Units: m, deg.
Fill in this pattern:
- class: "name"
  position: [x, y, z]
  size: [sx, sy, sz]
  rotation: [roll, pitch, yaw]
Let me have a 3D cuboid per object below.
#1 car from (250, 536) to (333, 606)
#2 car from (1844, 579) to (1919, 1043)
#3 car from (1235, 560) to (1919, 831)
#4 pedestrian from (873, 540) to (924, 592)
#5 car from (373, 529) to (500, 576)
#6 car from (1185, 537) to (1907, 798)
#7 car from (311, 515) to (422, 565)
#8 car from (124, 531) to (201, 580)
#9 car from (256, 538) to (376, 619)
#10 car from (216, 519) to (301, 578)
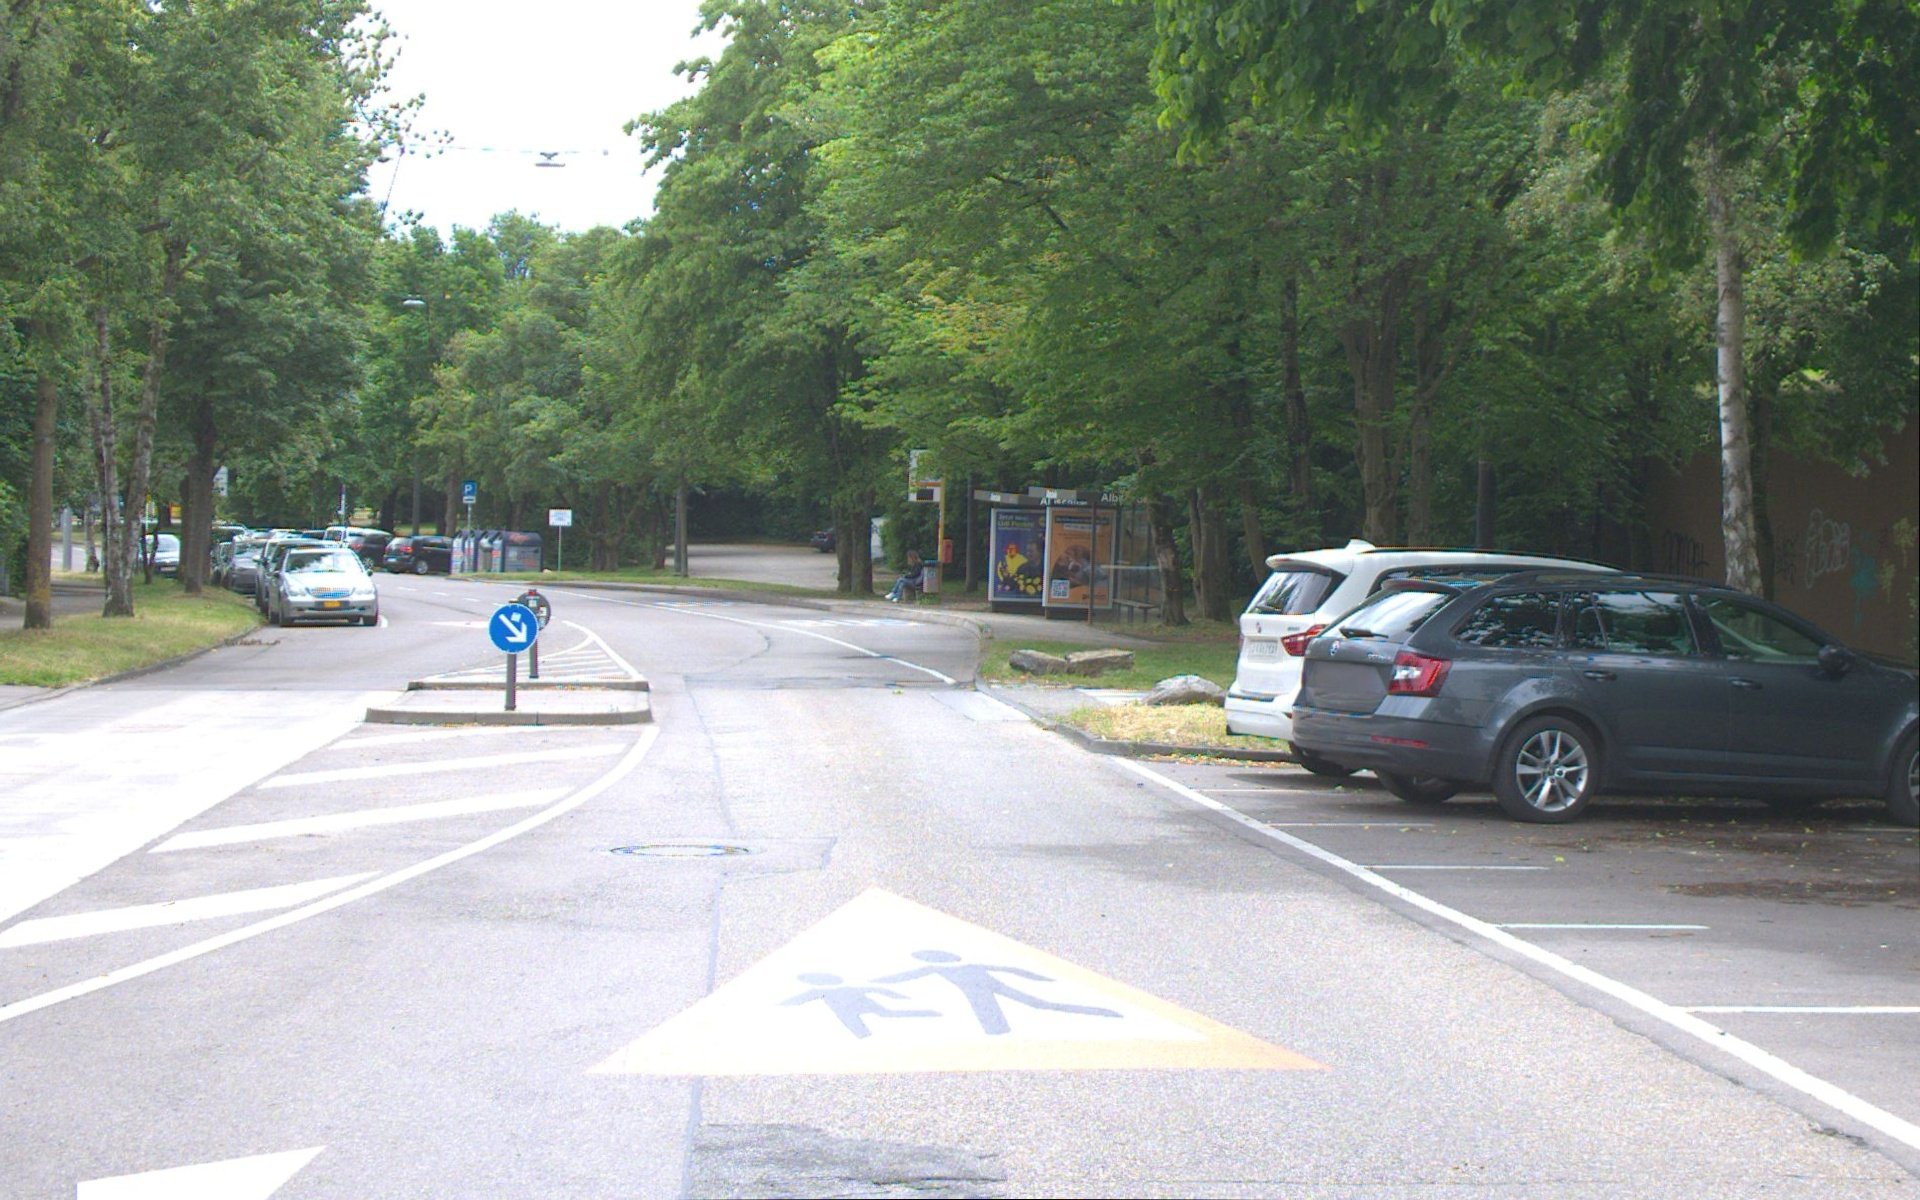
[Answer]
- class: "car"
  position: [-15.711, -0.708, 80.690]
  size: [1.735, 1.573, 4.143]
  rotation: [-1, 1, -13]
- class: "car"
  position: [5.107, 0.755, 10.997]
  size: [3.985, 1.459, 1.867]
  rotation: [2, 0, -19]
- class: "car"
  position: [3.971, 0.576, 21.022]
  size: [4.131, 1.459, 1.799]
  rotation: [2, 0, -17]
- class: "pedestrian"
  position: [-1.404, -0.768, 78.391]
  size: [1.063, 1.178, 0.580]
  rotation: [0, 1, -15]
- class: "car"
  position: [-19.007, -1.733, 124.876]
  size: [3.989, 1.409, 2.057]
  rotation: [3, 1, -43]
- class: "car"
  position: [4.002, 0.451, 23.748]
  size: [4.466, 1.580, 1.907]
  rotation: [2, 0, -13]
- class: "car"
  position: [-23.291, -2.346, 135.052]
  size: [3.820, 1.714, 1.877]
  rotation: [3, -1, -43]
- class: "car"
  position: [-27.126, -1.539, 116.894]
  size: [1.804, 1.557, 4.268]
  rotation: [-3, 2, -22]
- class: "car"
  position: [-11.874, -0.424, 63.211]
  size: [1.735, 1.411, 4.474]
  rotation: [-1, 1, -16]
- class: "car"
  position: [-18.744, -1.378, 91.724]
  size: [1.865, 1.533, 4.228]
  rotation: [0, 1, -16]
